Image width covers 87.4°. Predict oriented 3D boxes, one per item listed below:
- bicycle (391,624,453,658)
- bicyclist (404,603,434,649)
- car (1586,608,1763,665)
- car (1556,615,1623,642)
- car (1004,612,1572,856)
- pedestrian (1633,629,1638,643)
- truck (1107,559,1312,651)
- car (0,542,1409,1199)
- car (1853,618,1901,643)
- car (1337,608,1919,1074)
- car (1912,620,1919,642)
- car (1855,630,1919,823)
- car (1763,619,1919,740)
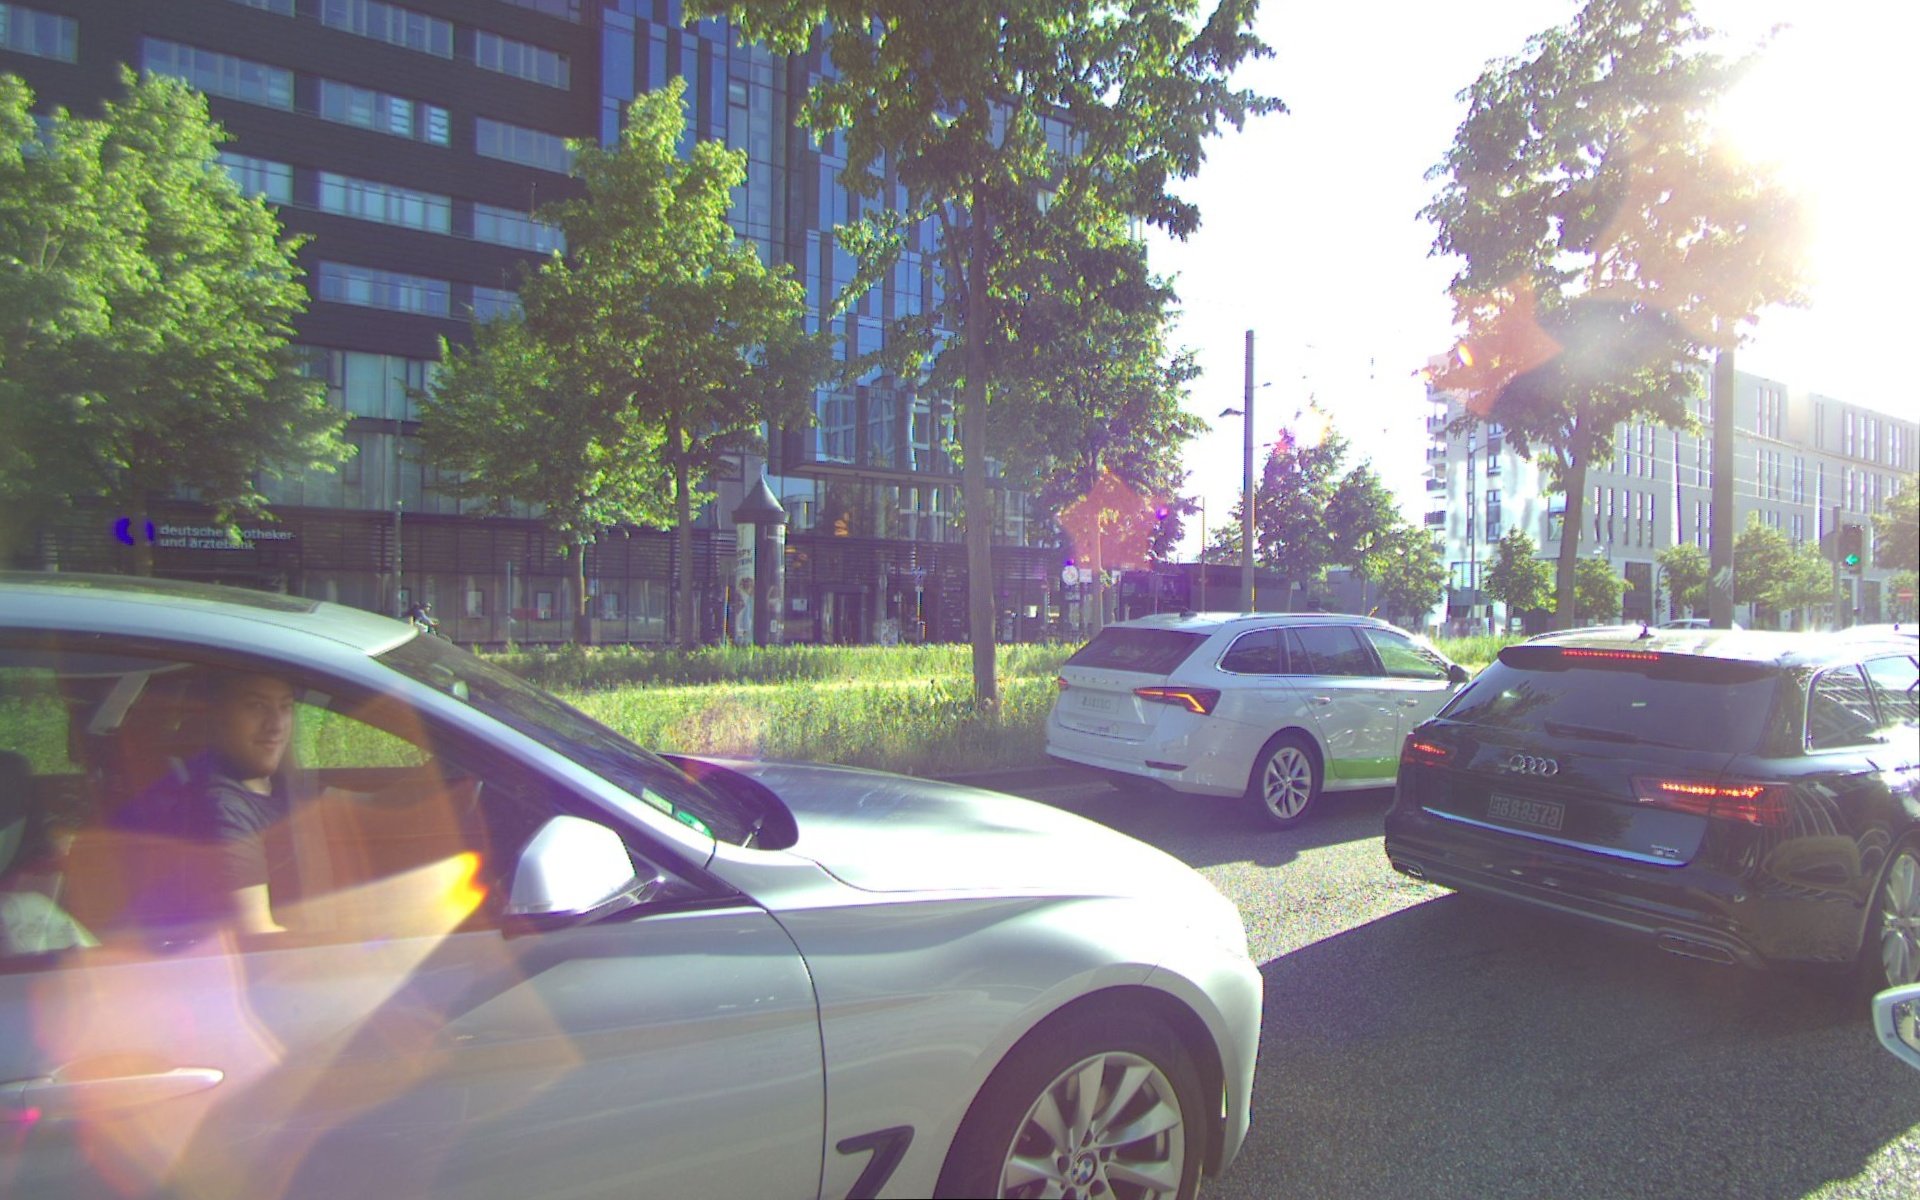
[{"bbox_3d":[-17.189,1.300,32.119,1.735,1.049,0.475,1,-1,-31],"label":"bicycle"},{"bbox_3d":[-17.285,0.837,32.066,0.811,1.443,0.475,1,-1,-30],"label":"bicyclist"},{"bbox_3d":[24.101,1.191,34.085,1.783,1.503,4.534,1,2,-28],"label":"car"},{"bbox_3d":[37.533,1.685,59.901,3.953,1.540,1.756,1,-1,-30],"label":"car"},{"bbox_3d":[2.723,0.866,8.020,4.515,1.467,1.790,1,-1,-30],"label":"car"},{"bbox_3d":[56.345,3.001,83.822,0.257,1.100,0.252,1,0,-30],"label":"pedestrian"},{"bbox_3d":[11.699,0.303,46.493,10.094,3.904,2.877,1,-1,-31],"label":"truck"},{"bbox_3d":[-1.310,0.697,2.013,4.509,1.504,1.810,1,-1,-31],"label":"car"},{"bbox_3d":[78.097,2.587,85.526,3.953,2.040,1.984,1,-1,-30],"label":"car"},{"bbox_3d":[4.394,0.835,5.351,4.911,1.504,1.864,1,-1,-32],"label":"car"},{"bbox_3d":[90.296,2.872,93.142,3.953,2.040,1.984,1,-1,-30],"label":"car"},{"bbox_3d":[9.343,0.998,8.194,4.288,1.445,1.833,1,-1,-30],"label":"car"},{"bbox_3d":[13.317,1.034,14.185,4.520,1.467,1.788,1,-1,-33],"label":"car"}]
